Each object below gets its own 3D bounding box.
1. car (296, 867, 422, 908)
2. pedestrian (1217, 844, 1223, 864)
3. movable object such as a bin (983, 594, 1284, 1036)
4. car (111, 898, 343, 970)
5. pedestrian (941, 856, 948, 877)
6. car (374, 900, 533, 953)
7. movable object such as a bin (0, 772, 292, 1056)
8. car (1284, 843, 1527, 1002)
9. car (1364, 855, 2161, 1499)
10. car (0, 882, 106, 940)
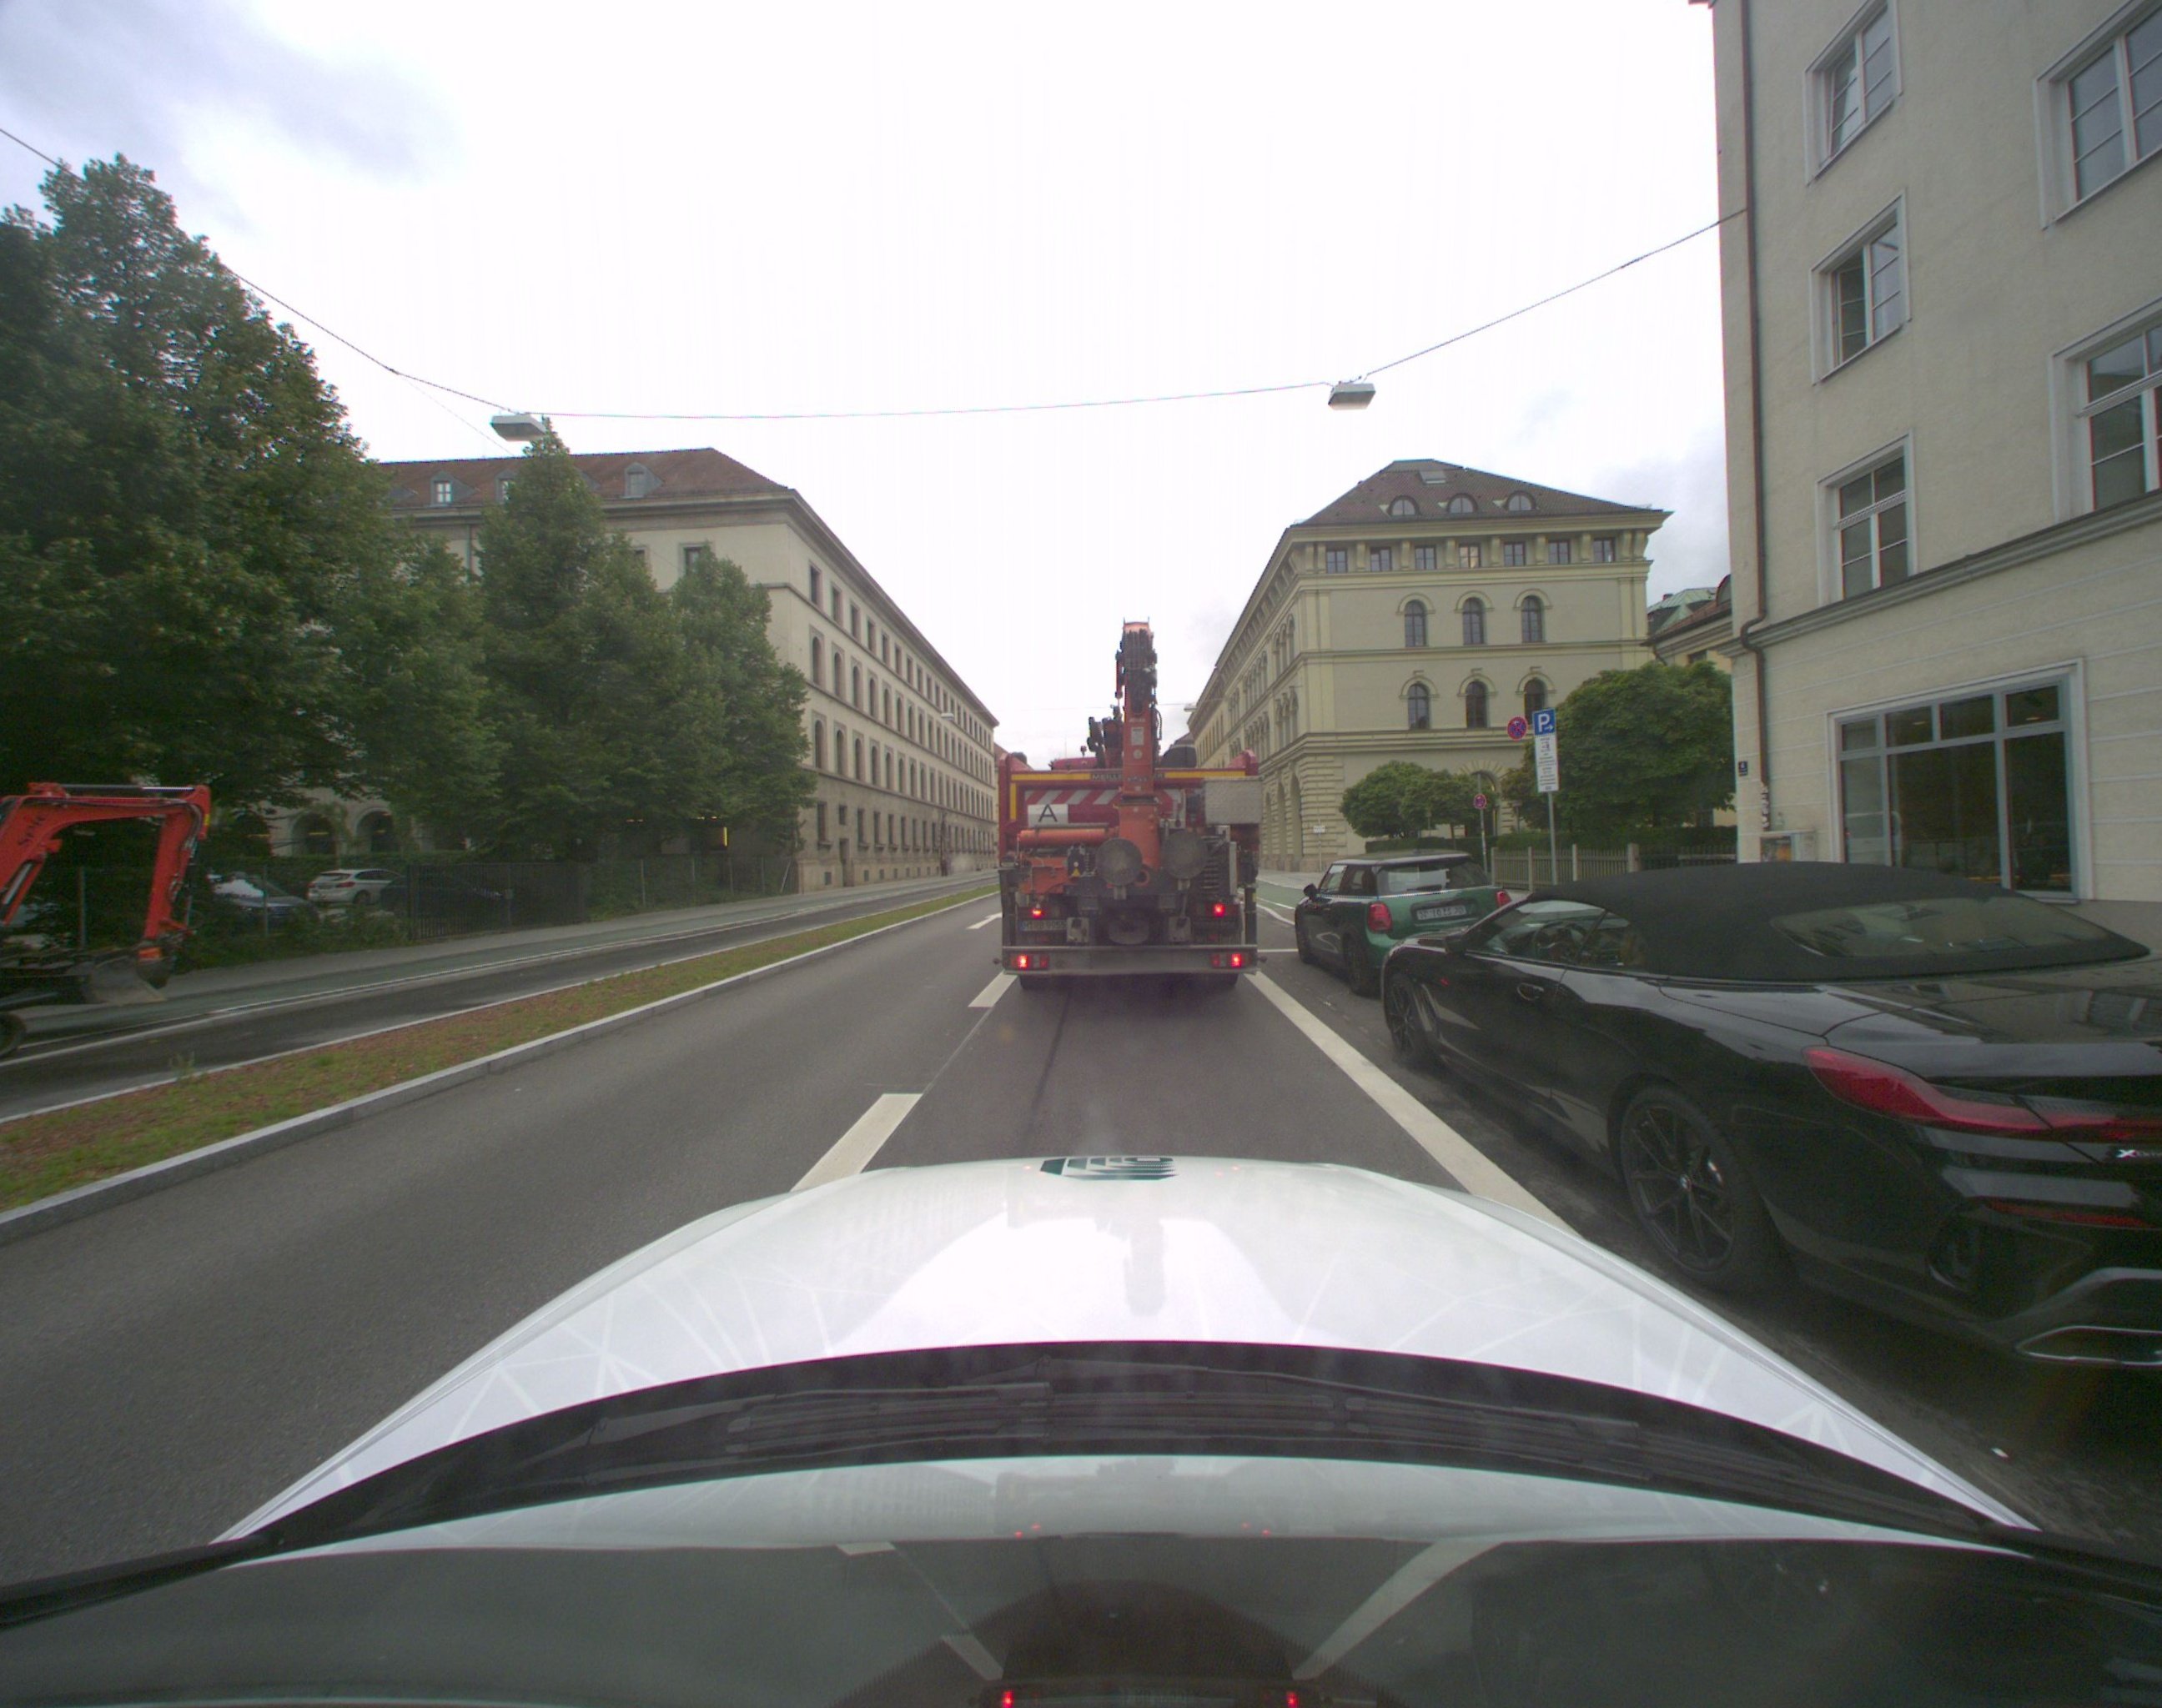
[{"bbox_3d":[-30.849,1.392,34.989,1.824,1.545,3.941,-1,0,1],"label":"car"},{"bbox_3d":[12.976,-0.004,76.209,0.444,1.836,0.556,-2,0,3],"label":"pedestrian"},{"bbox_3d":[0.513,-0.329,9.702,2.414,3.611,5.853,-1,0,1],"label":"movable object such as a bin"},{"bbox_3d":[-21.543,1.995,20.671,3.914,1.545,1.836,-1,0,0],"label":"car"},{"bbox_3d":[-12.447,1.136,74.270,0.586,1.831,0.499,-1,0,1],"label":"pedestrian"},{"bbox_3d":[-21.182,2.431,27.605,3.914,1.545,1.836,-1,0,0],"label":"car"},{"bbox_3d":[-11.028,0.589,7.906,1.986,2.641,4.668,-2,0,2],"label":"movable object such as a bin"},{"bbox_3d":[3.598,0.670,9.685,1.604,1.495,3.426,-2,0,2],"label":"car"},{"bbox_3d":[2.931,0.726,4.021,1.673,1.386,4.429,-2,0,2],"label":"car"},{"bbox_3d":[-31.364,1.673,23.300,1.824,1.545,4.178,-1,0,1],"label":"car"}]
